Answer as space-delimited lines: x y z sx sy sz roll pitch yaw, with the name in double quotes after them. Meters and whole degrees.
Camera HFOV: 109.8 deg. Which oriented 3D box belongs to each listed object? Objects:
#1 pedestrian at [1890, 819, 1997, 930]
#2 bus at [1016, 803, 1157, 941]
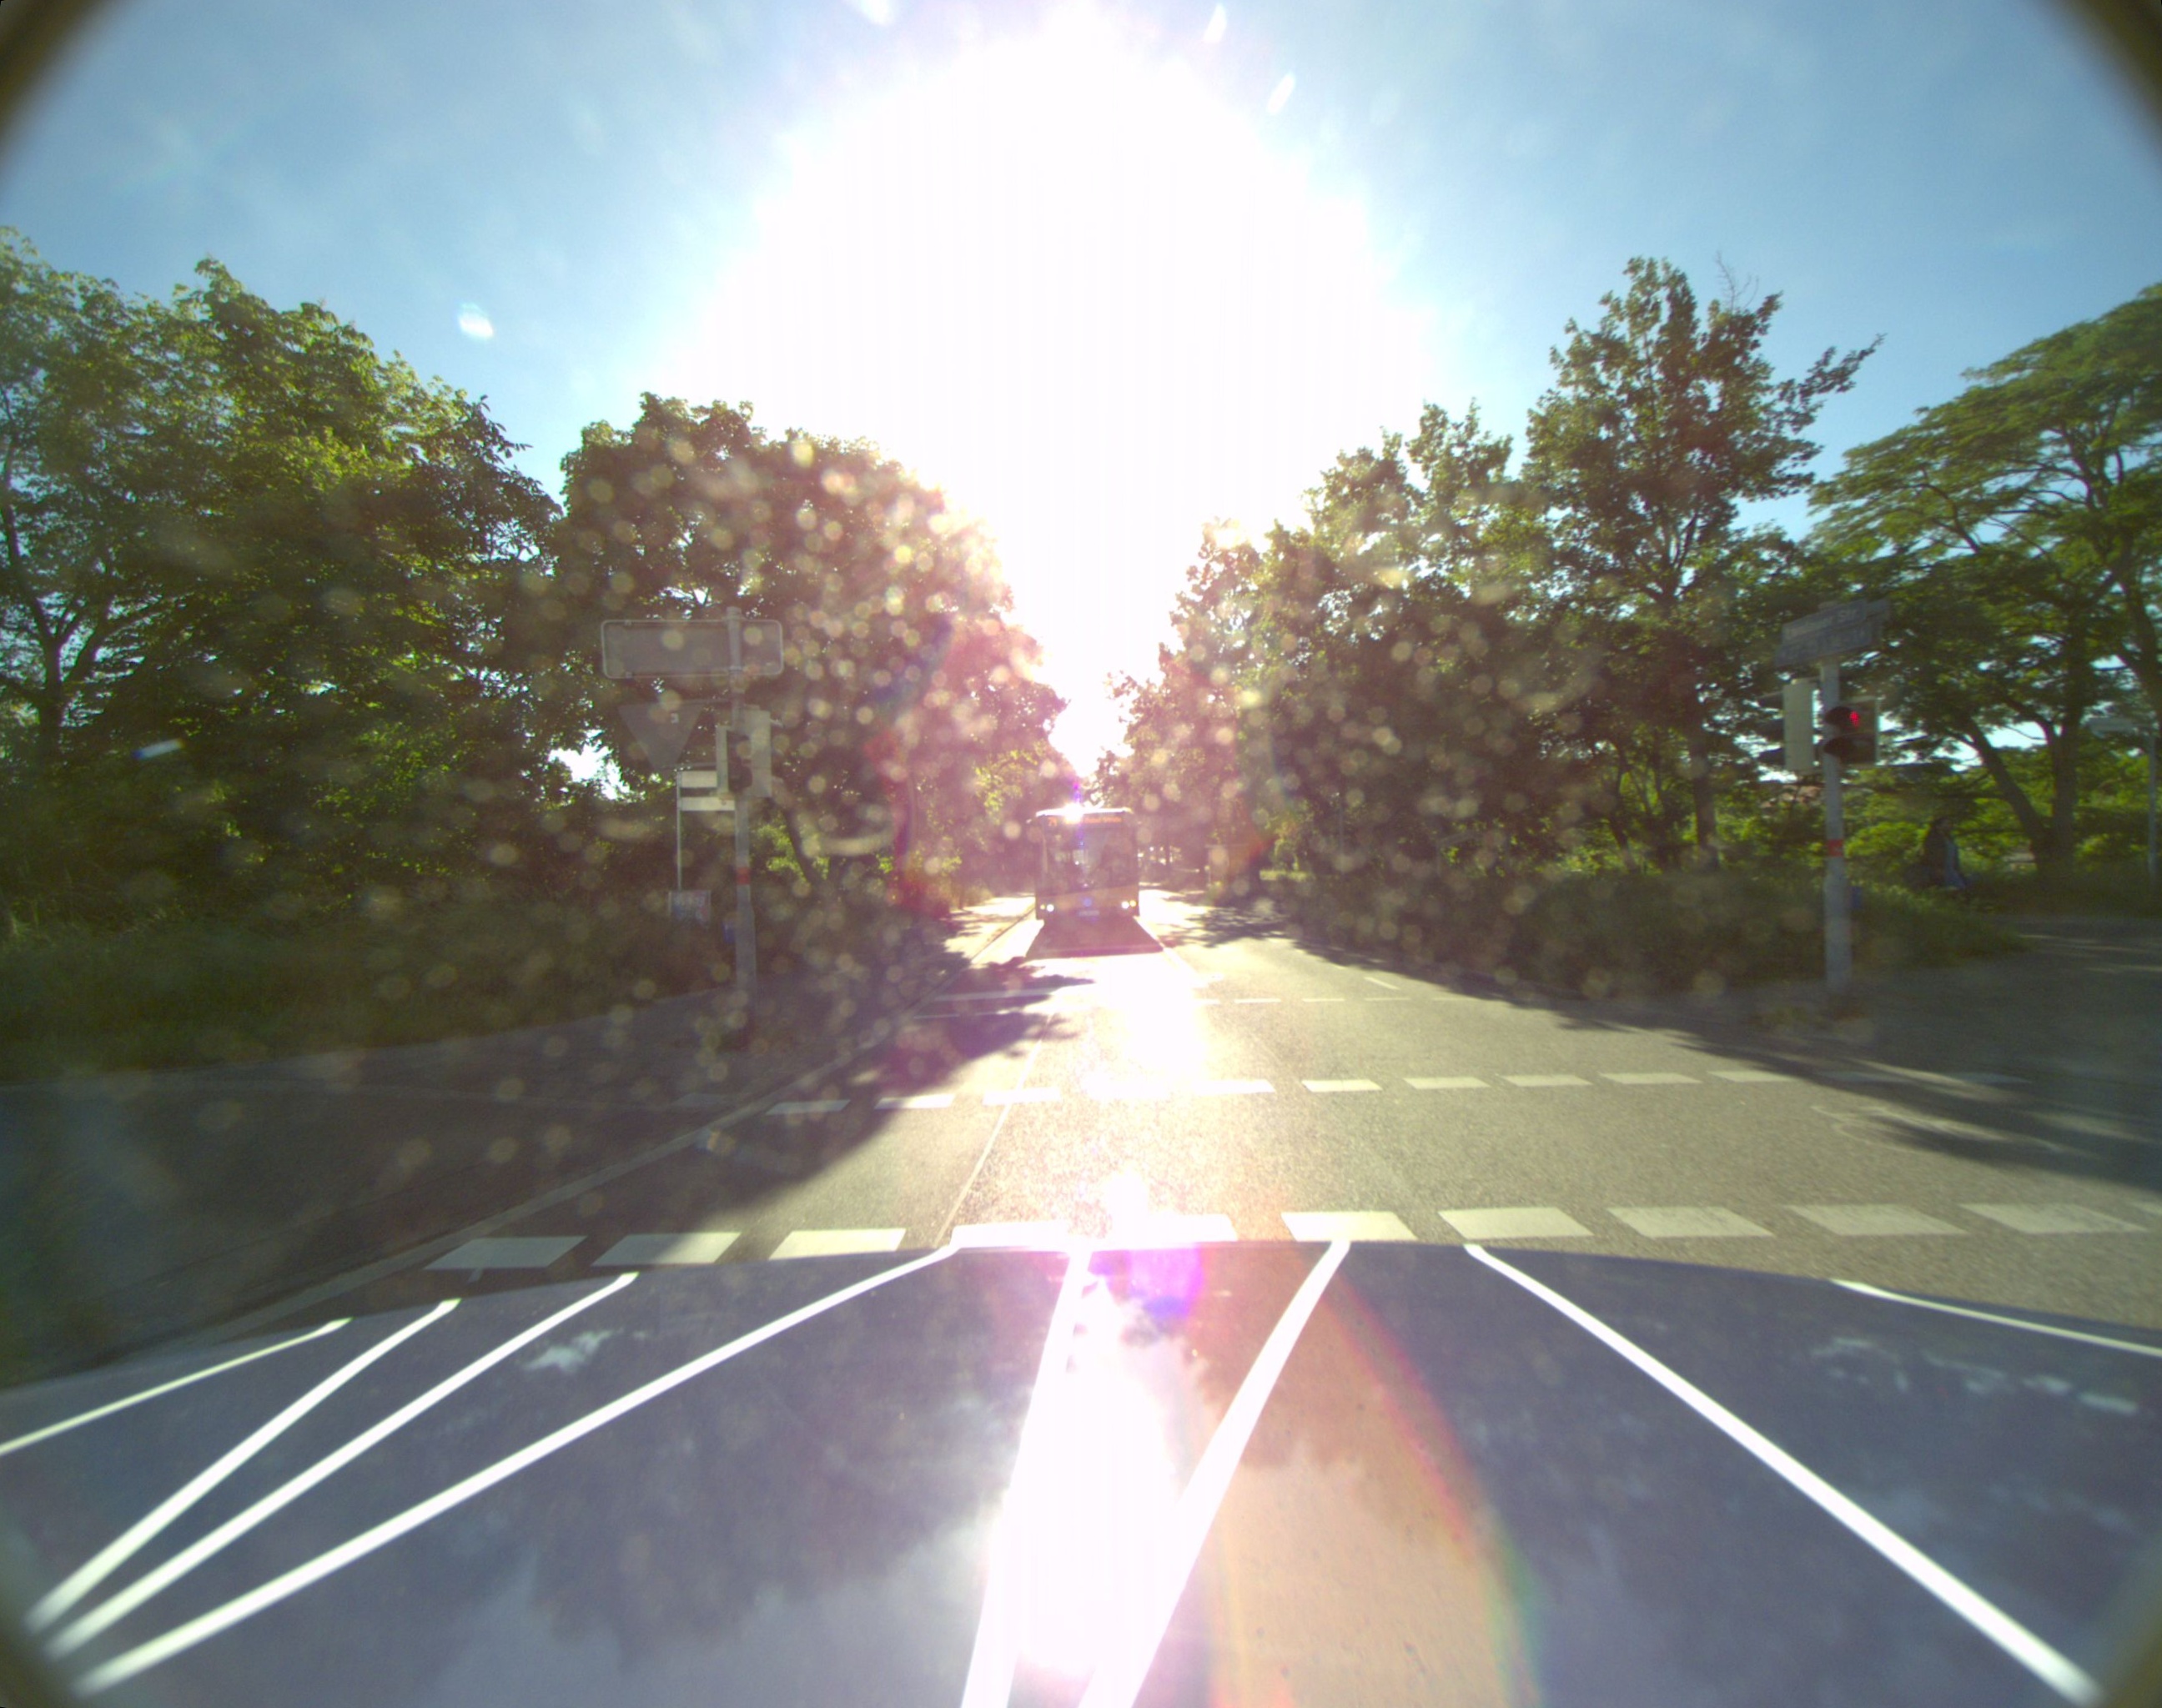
13.269 0.316 11.705 0.800 1.623 0.647 -4 -1 1 "pedestrian"
0.258 0.536 24.161 3.128 3.079 12.482 -4 -1 1 "bus"
